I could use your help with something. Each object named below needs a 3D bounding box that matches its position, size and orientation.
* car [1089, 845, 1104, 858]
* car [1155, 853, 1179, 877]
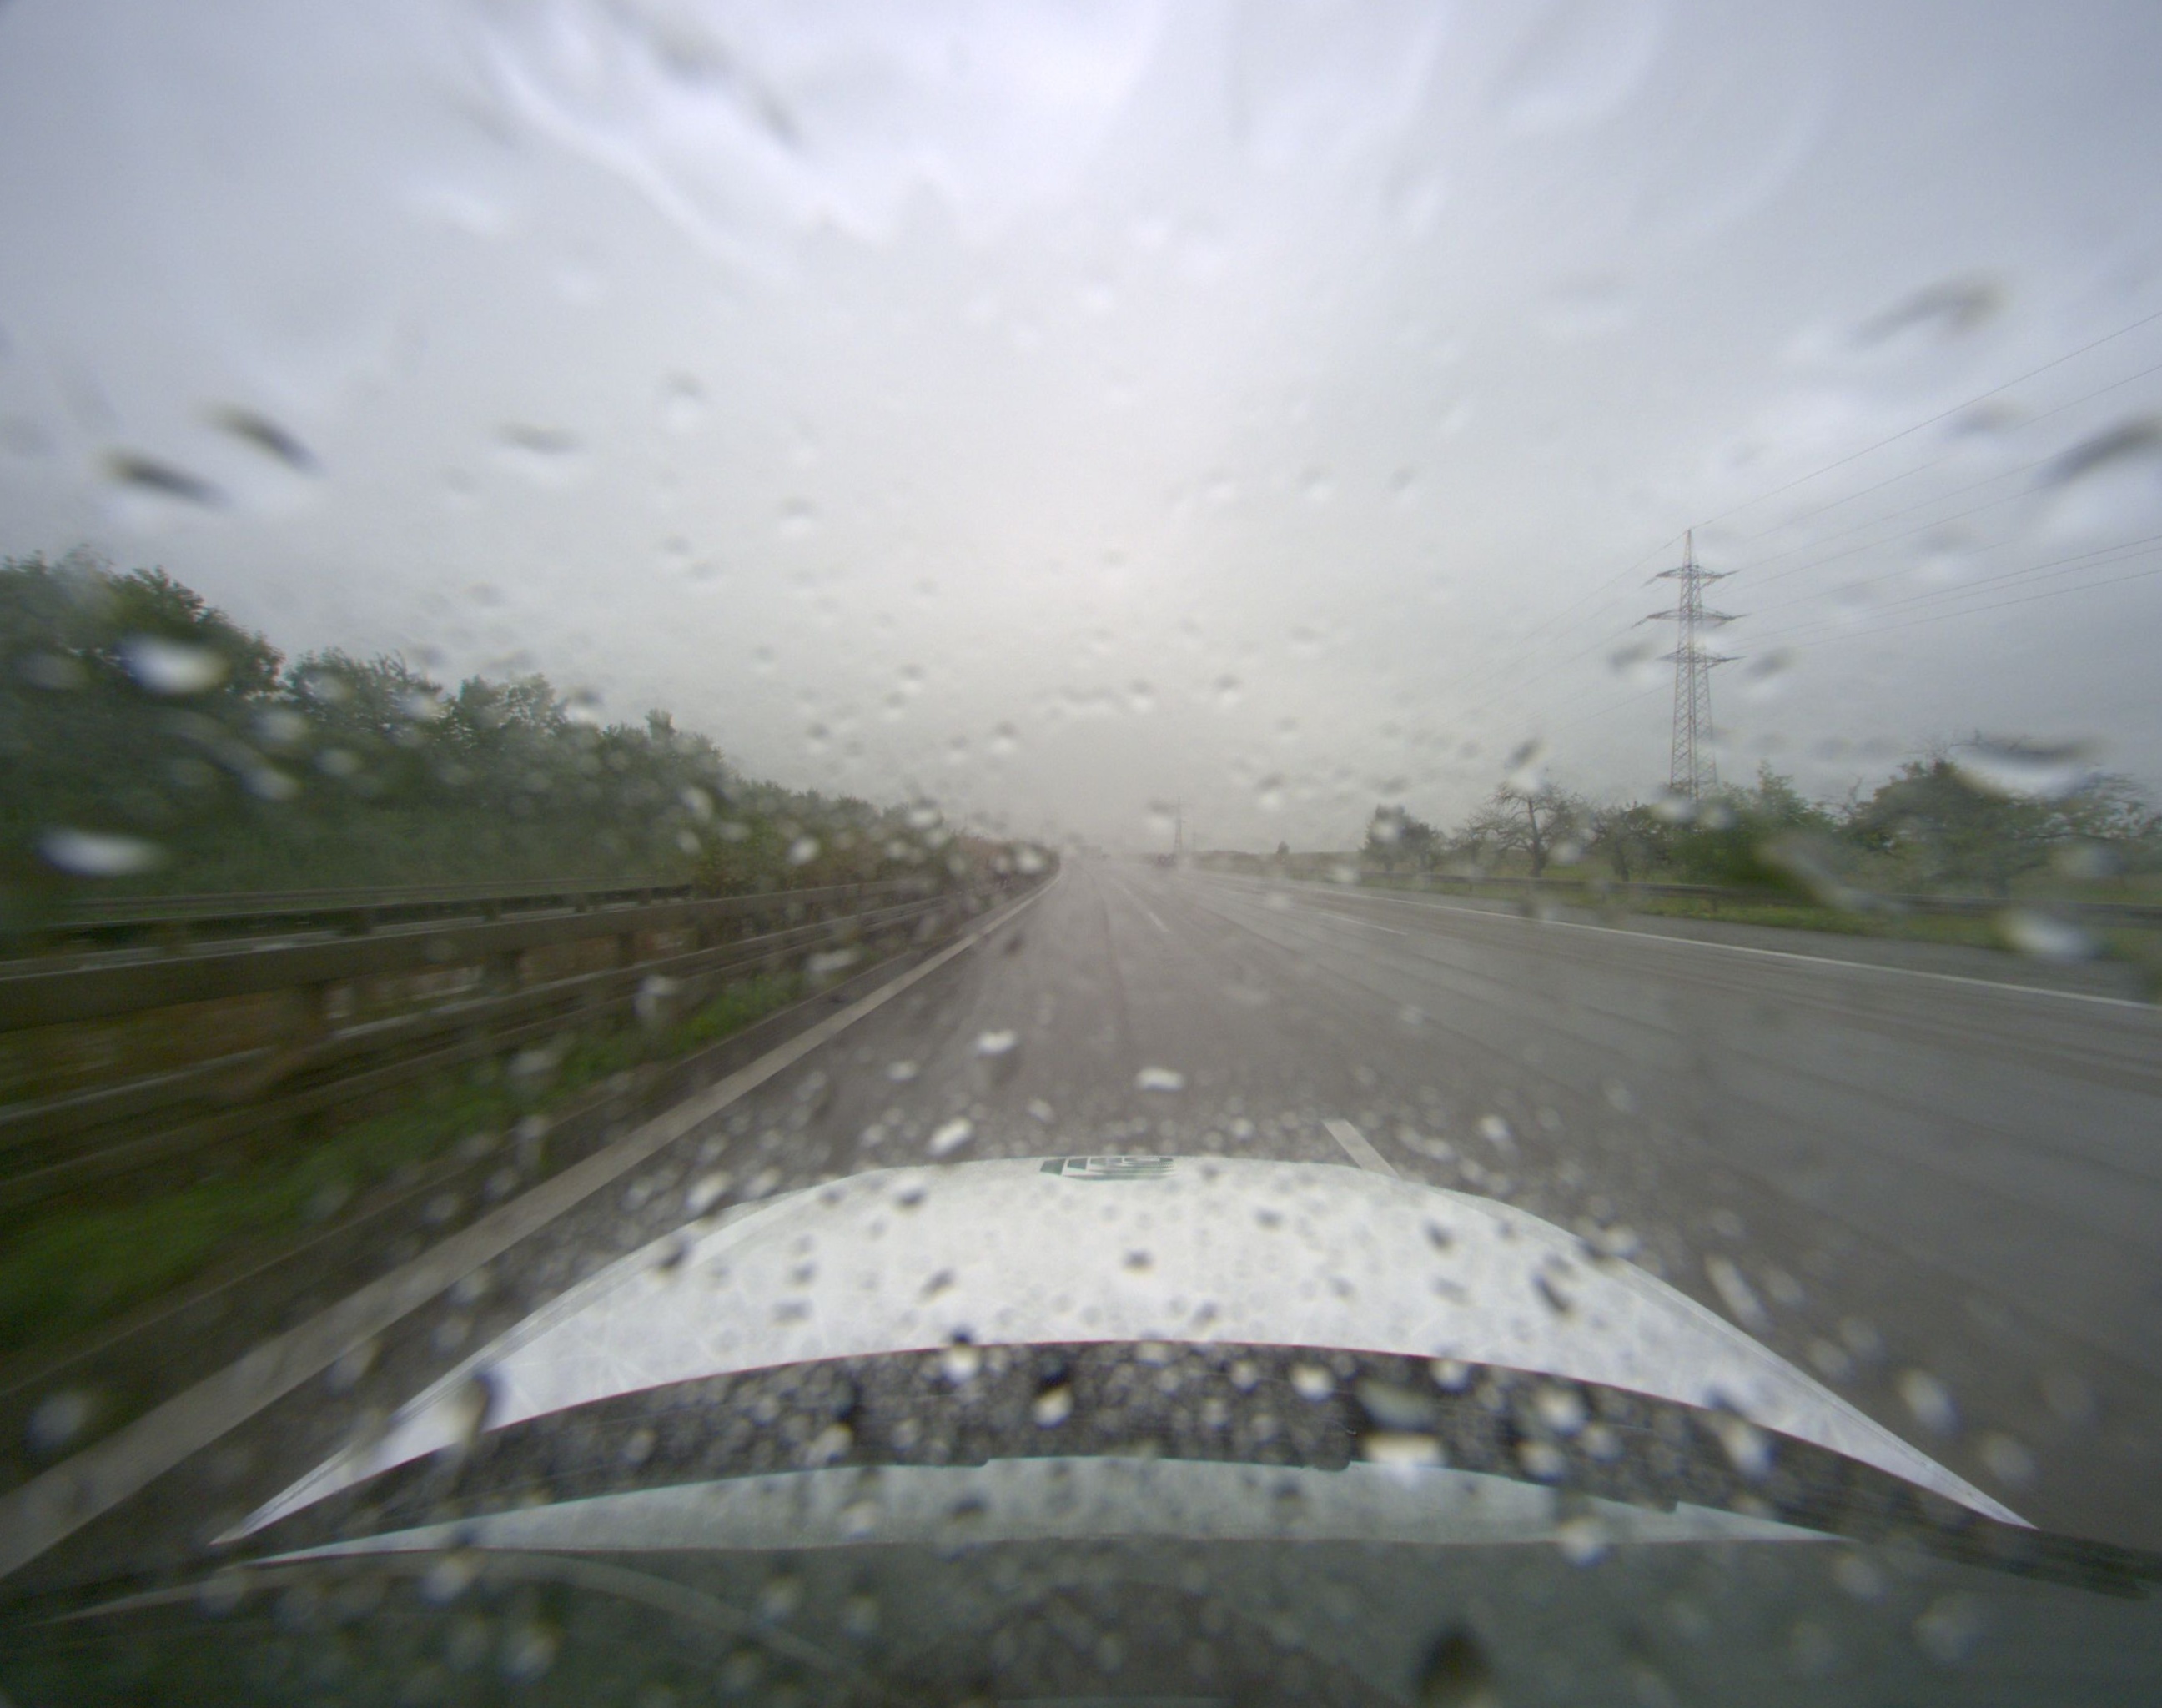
[{"bbox_3d":[3.880,-0.566,205.628,3.192,3.193,7.250,0,0,-2],"label":"car"},{"bbox_3d":[8.123,1.026,76.859,1.802,2.158,3.998,0,0,-1],"label":"car"}]
